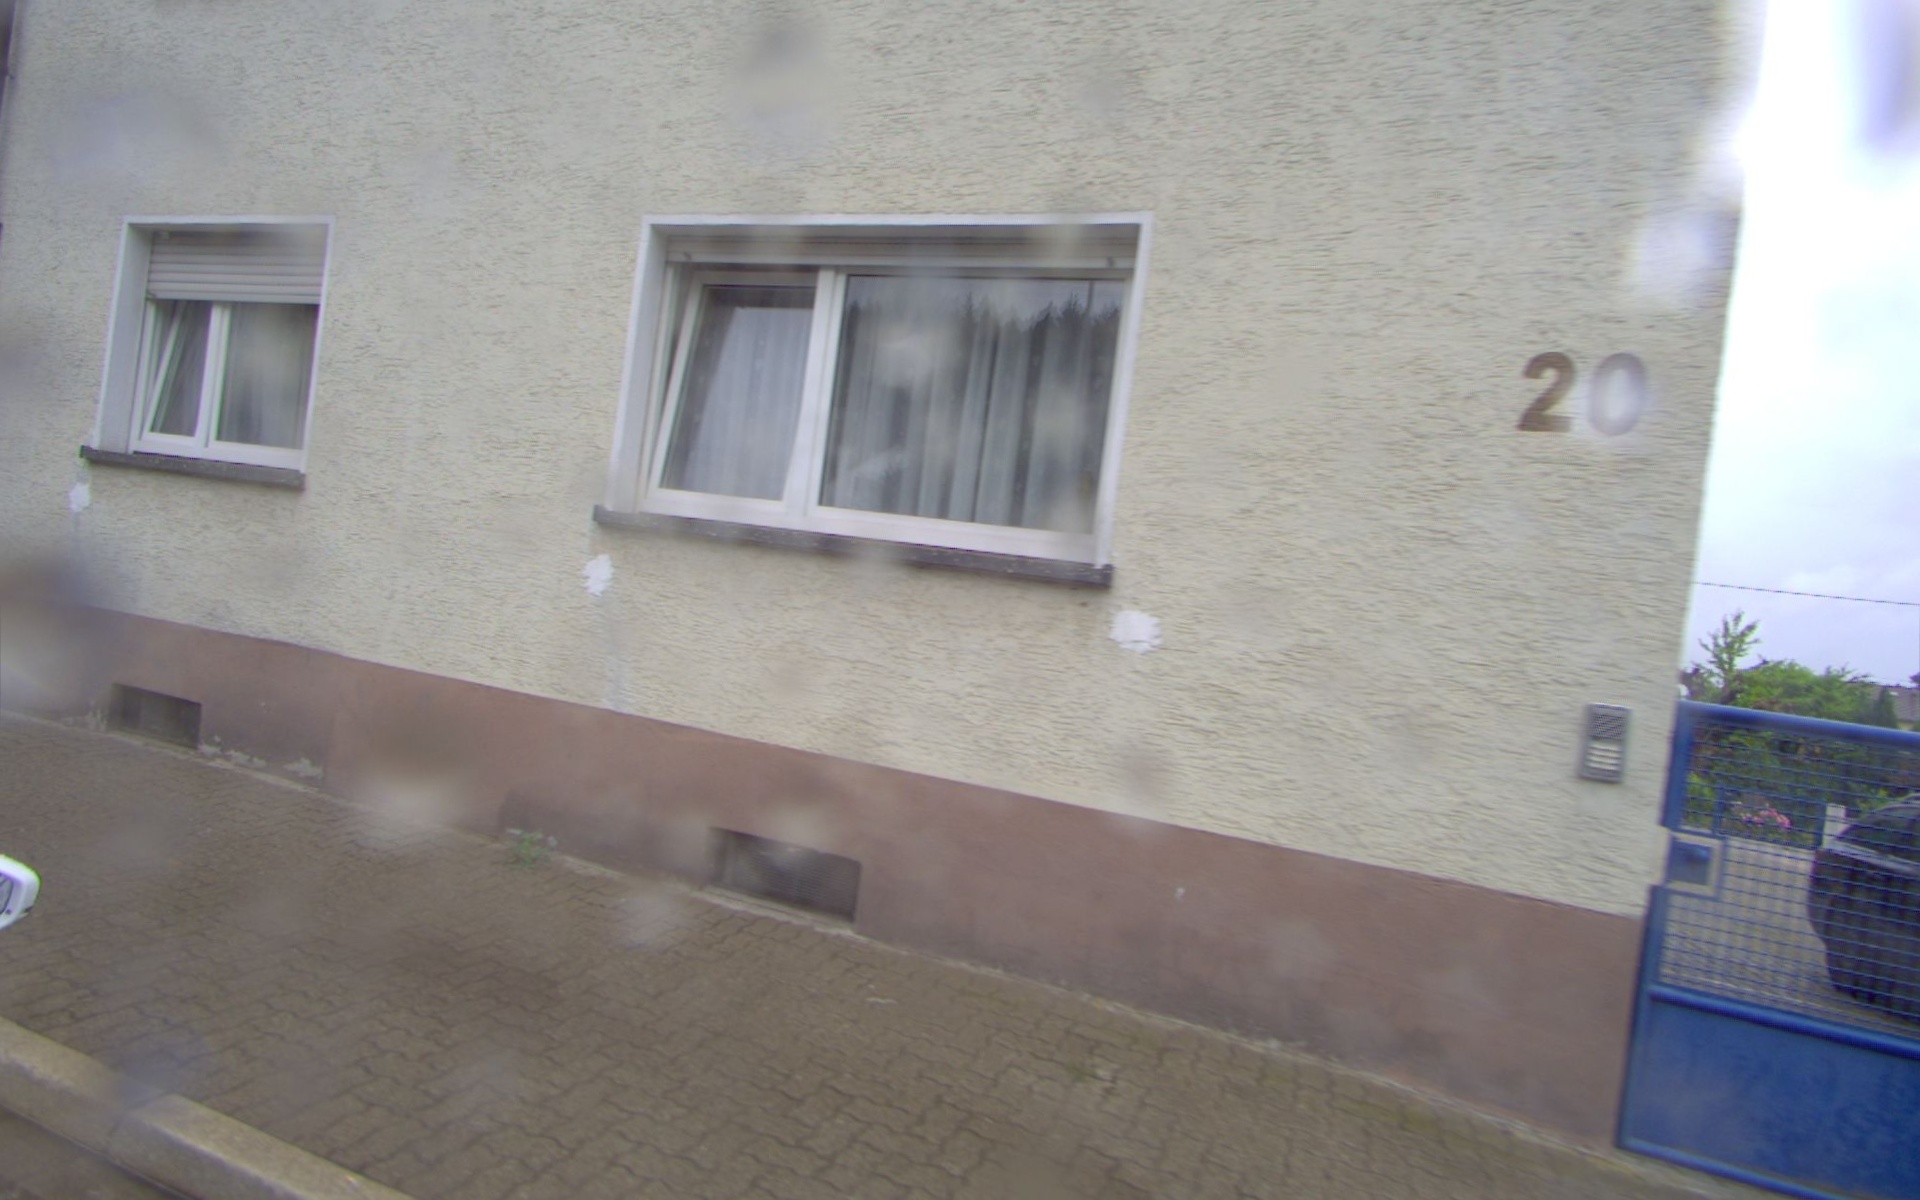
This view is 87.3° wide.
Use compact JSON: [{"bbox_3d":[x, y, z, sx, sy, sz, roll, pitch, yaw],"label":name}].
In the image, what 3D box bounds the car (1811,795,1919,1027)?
[{"bbox_3d":[6.536,1.948,5.156,1.877,1.315,4.166,7,-5,20],"label":"car"}]
